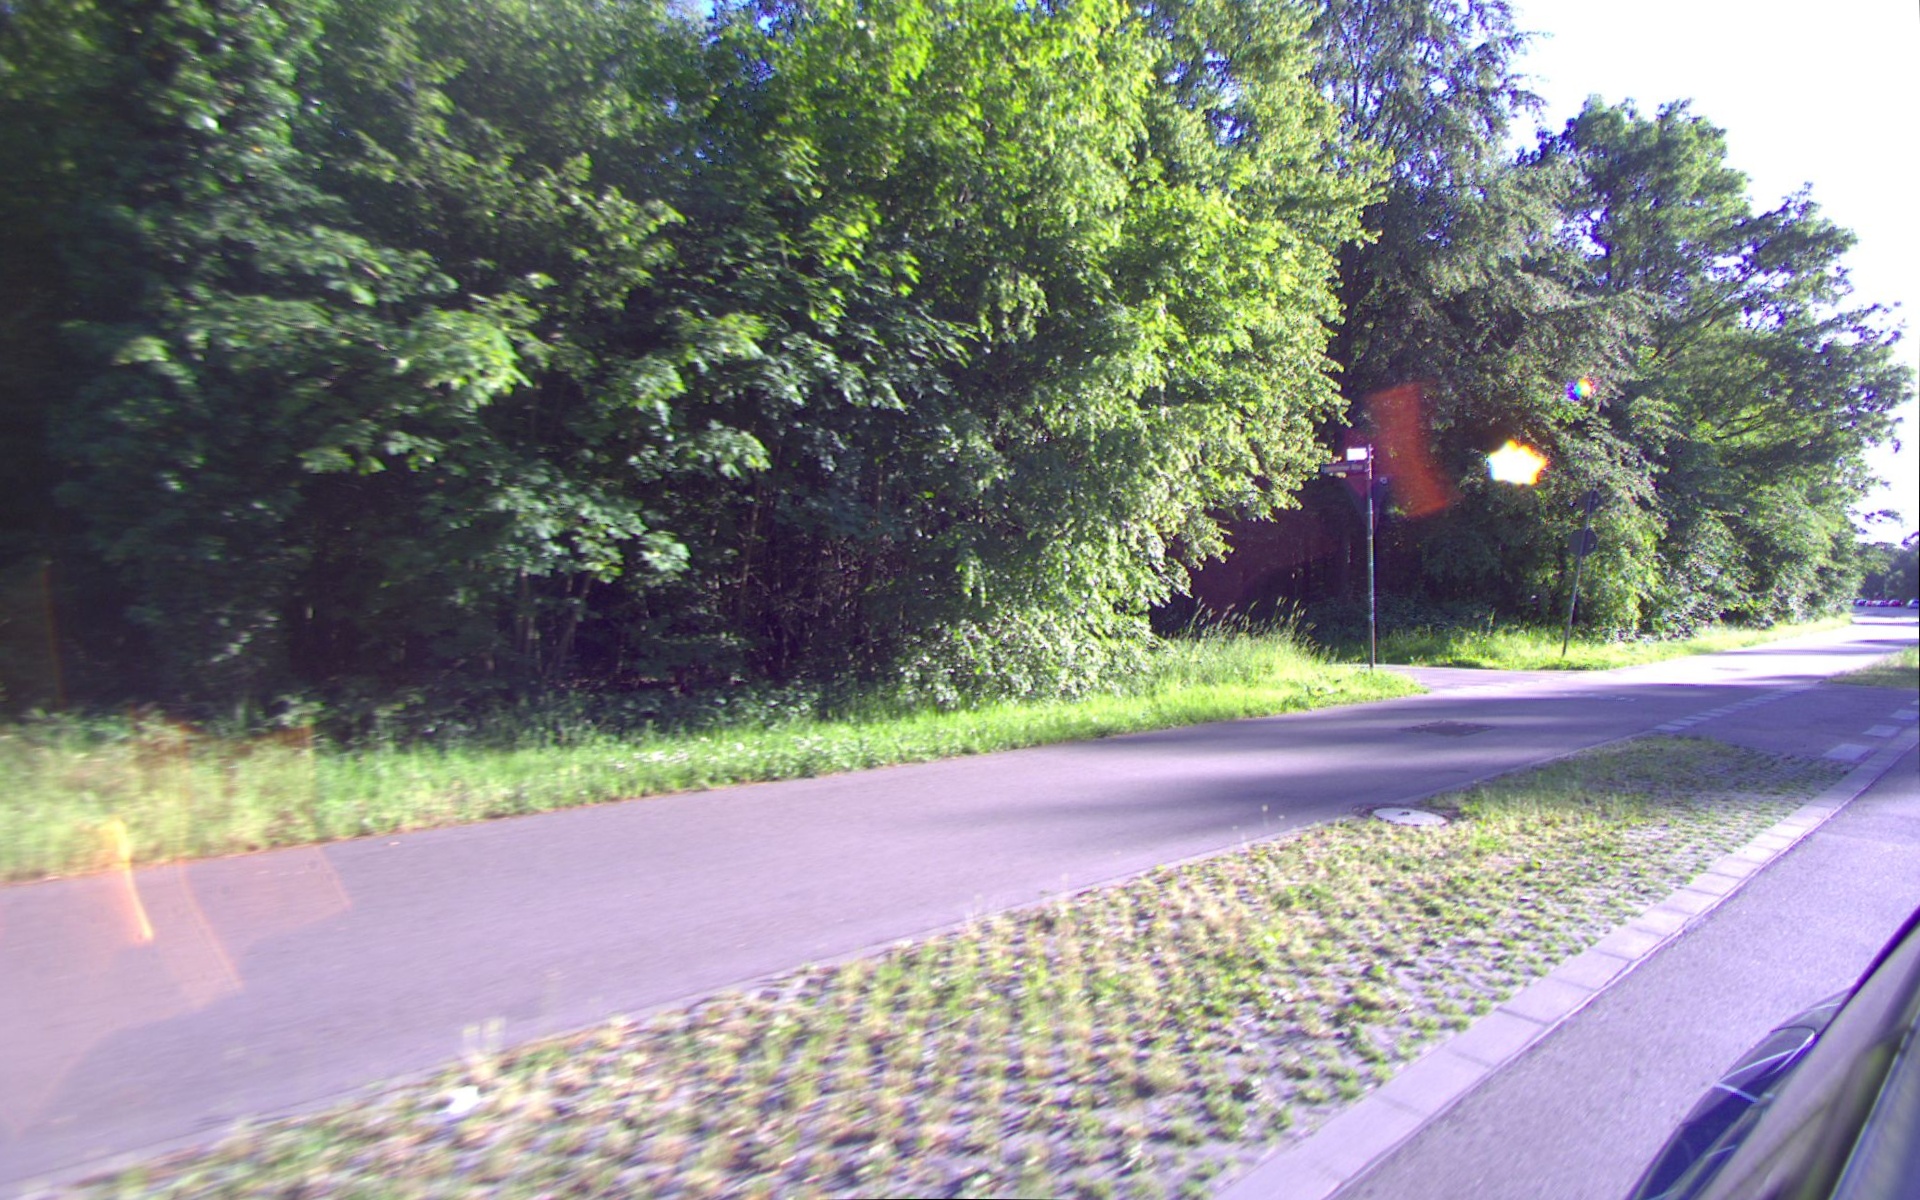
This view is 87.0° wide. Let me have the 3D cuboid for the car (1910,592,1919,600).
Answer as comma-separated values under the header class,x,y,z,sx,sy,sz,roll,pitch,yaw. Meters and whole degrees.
class,x,y,z,sx,sy,sz,roll,pitch,yaw
car,172.153,-0.674,181.538,1.730,1.476,3.956,-1,0,31
